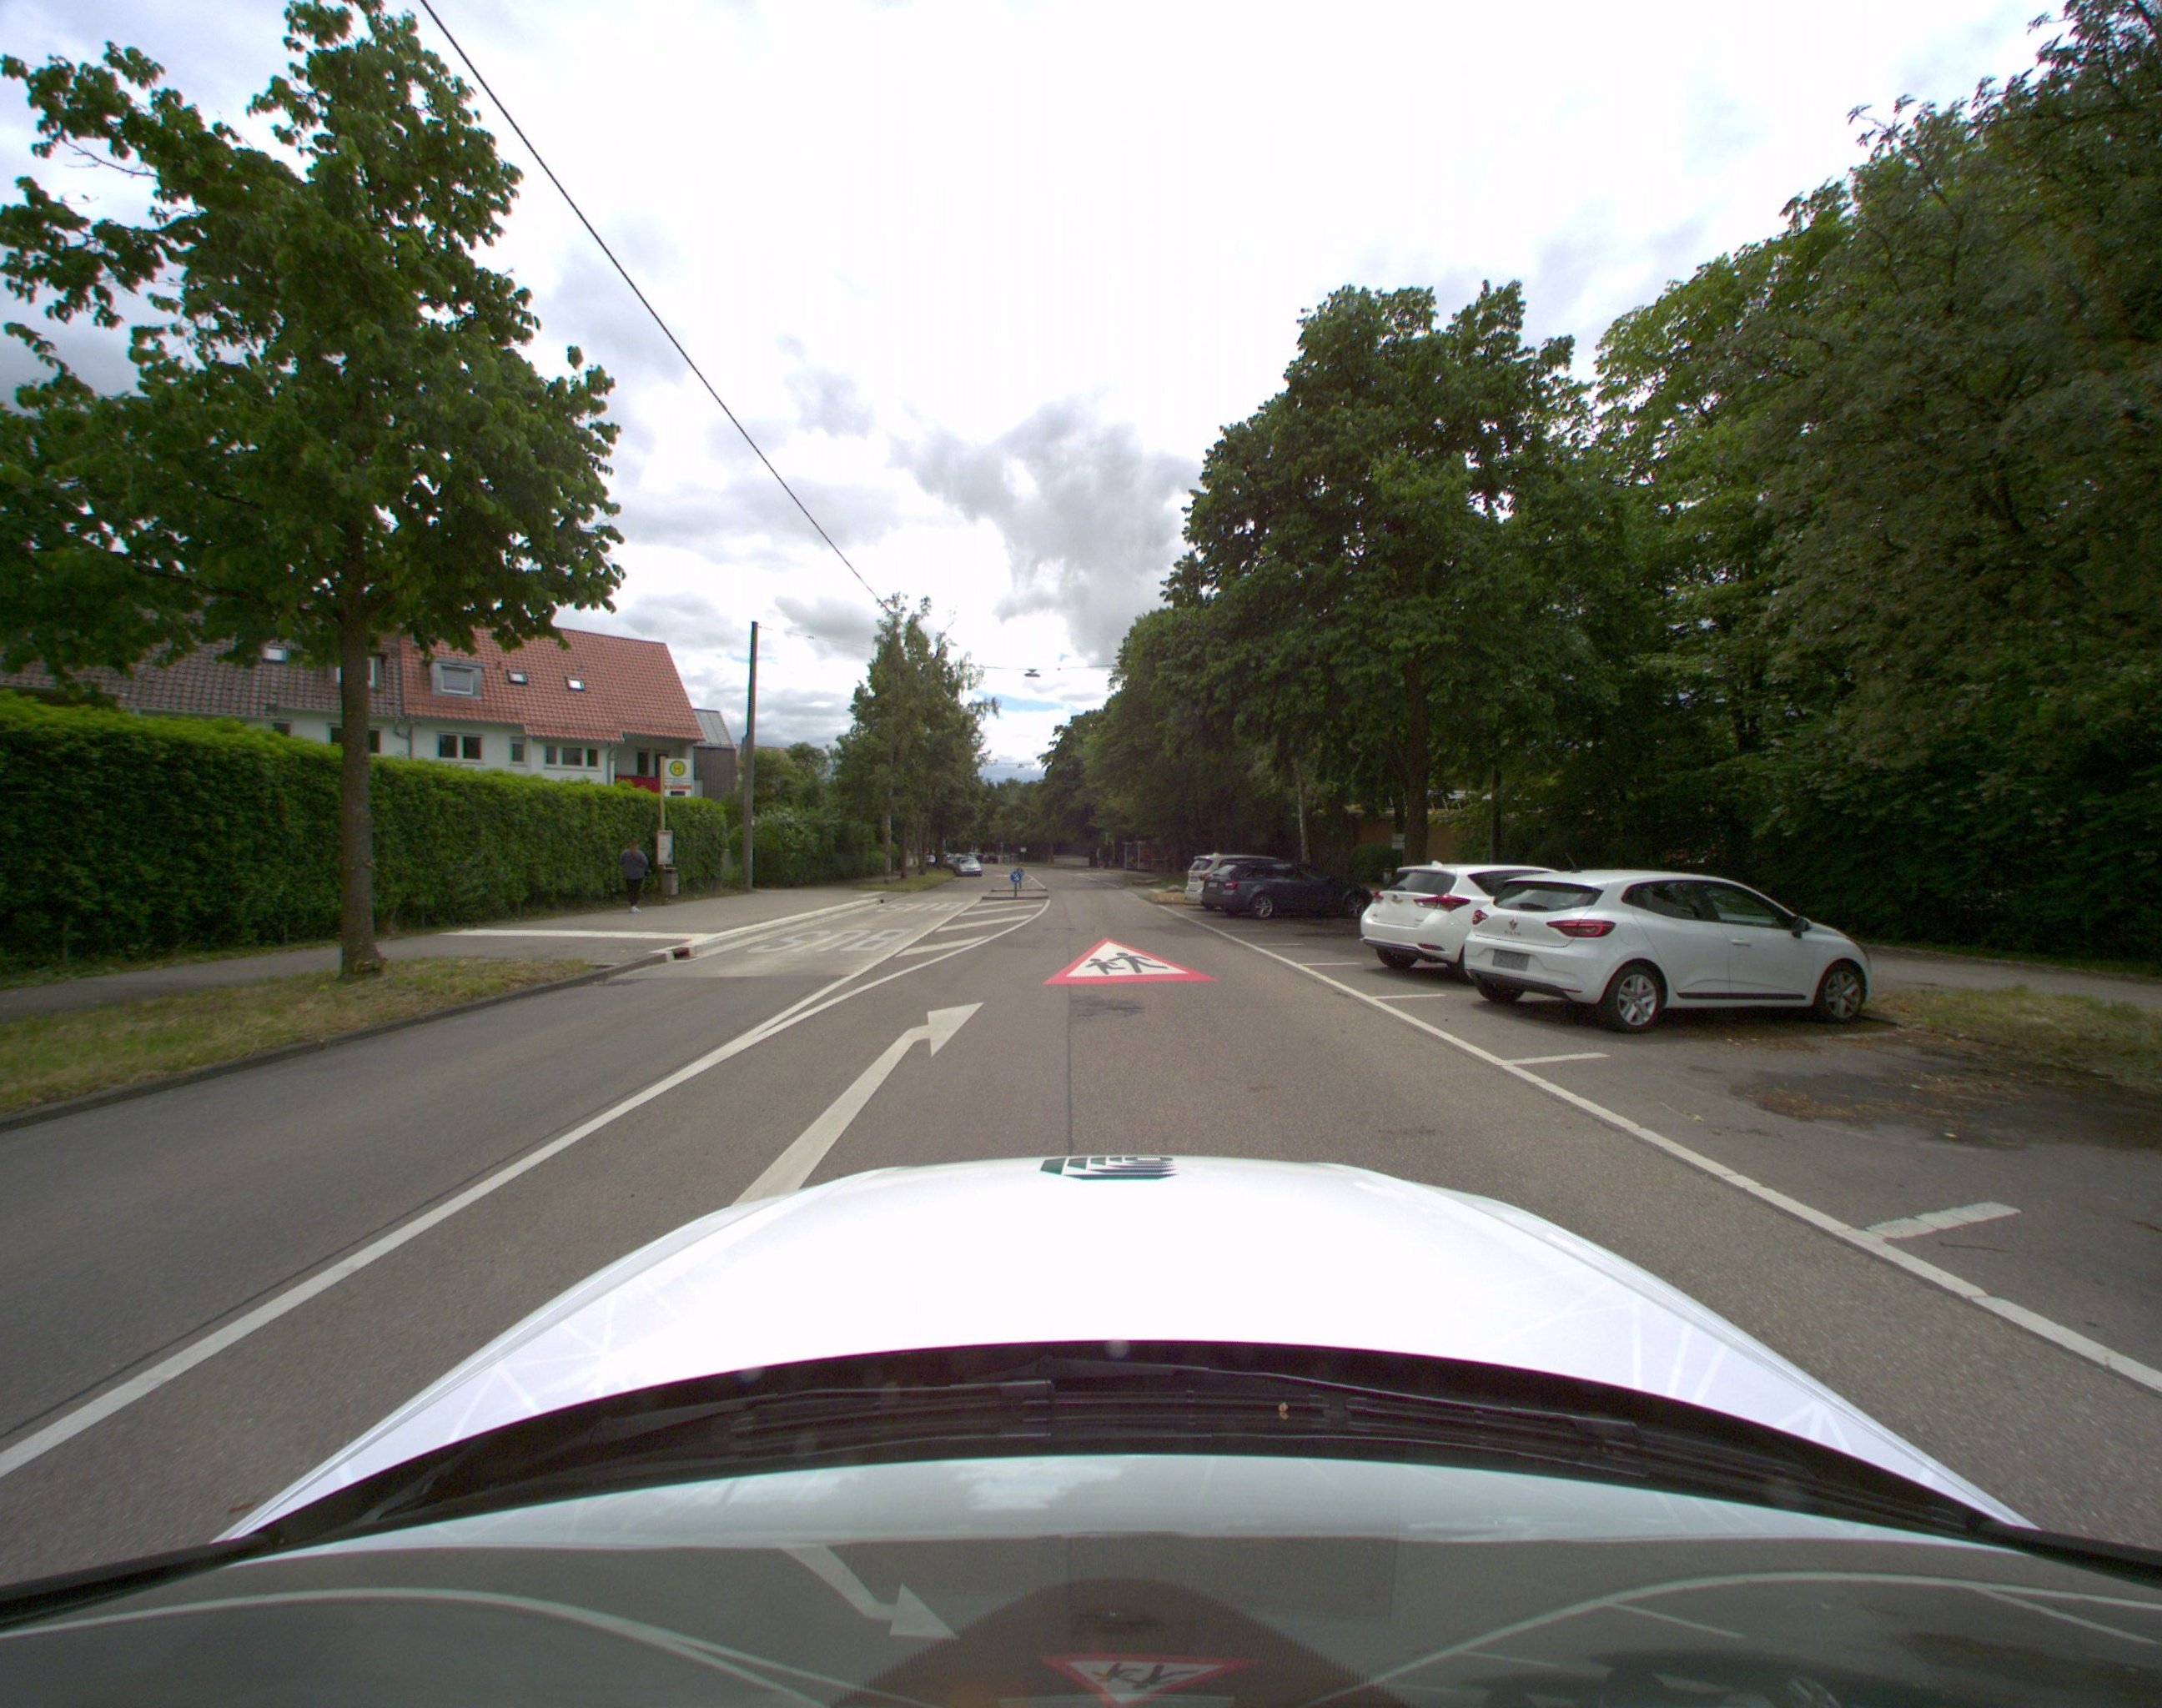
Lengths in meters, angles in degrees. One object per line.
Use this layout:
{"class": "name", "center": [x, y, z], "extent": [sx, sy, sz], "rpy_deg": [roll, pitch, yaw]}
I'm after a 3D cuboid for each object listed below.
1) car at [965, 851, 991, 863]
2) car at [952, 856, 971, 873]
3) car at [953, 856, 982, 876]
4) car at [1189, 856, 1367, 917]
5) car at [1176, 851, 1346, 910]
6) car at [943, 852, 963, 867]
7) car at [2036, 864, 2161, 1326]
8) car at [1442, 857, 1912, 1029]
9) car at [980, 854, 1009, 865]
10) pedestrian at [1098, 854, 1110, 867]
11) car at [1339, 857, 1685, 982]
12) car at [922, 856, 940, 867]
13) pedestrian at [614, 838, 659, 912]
{"class": "car", "center": [-17.108, 0.517, 135.695], "extent": [3.851, 1.720, 1.856], "rpy_deg": [3, -2, -41]}
{"class": "car", "center": [-11.929, 1.030, 81.152], "extent": [1.736, 1.578, 4.126], "rpy_deg": [-2, 0, -11]}
{"class": "car", "center": [-8.876, 0.922, 63.587], "extent": [1.738, 1.416, 4.451], "rpy_deg": [-2, 0, -14]}
{"class": "car", "center": [5.057, 0.834, 21.026], "extent": [4.140, 1.464, 1.789], "rpy_deg": [1, -1, -15]}
{"class": "car", "center": [5.206, 0.756, 23.752], "extent": [4.470, 1.585, 1.899], "rpy_deg": [1, -1, -12]}
{"class": "car", "center": [-14.475, 0.620, 92.266], "extent": [1.869, 1.538, 4.207], "rpy_deg": [-1, 0, -14]}
{"class": "car", "center": [5.525, 0.812, 2.811], "extent": [4.004, 1.464, 1.836], "rpy_deg": [1, -1, -24]}
{"class": "car", "center": [5.989, 0.807, 8.315], "extent": [3.994, 1.464, 1.787], "rpy_deg": [1, -1, -15]}
{"class": "car", "center": [-13.279, 0.860, 125.410], "extent": [4.021, 1.414, 2.033], "rpy_deg": [3, 0, -41]}
{"class": "pedestrian", "center": [2.213, 0.622, 78.515], "extent": [1.065, 1.182, 0.577], "rpy_deg": [-1, 0, -14]}
{"class": "car", "center": [5.748, 0.811, 10.975], "extent": [3.996, 1.464, 1.855], "rpy_deg": [1, -1, -17]}
{"class": "car", "center": [-21.712, 1.086, 117.623], "extent": [1.811, 1.563, 4.238], "rpy_deg": [-4, 1, -20]}
{"class": "pedestrian", "center": [-10.415, 0.479, 19.102], "extent": [0.691, 1.711, 0.776], "rpy_deg": [0, 0, -8]}
